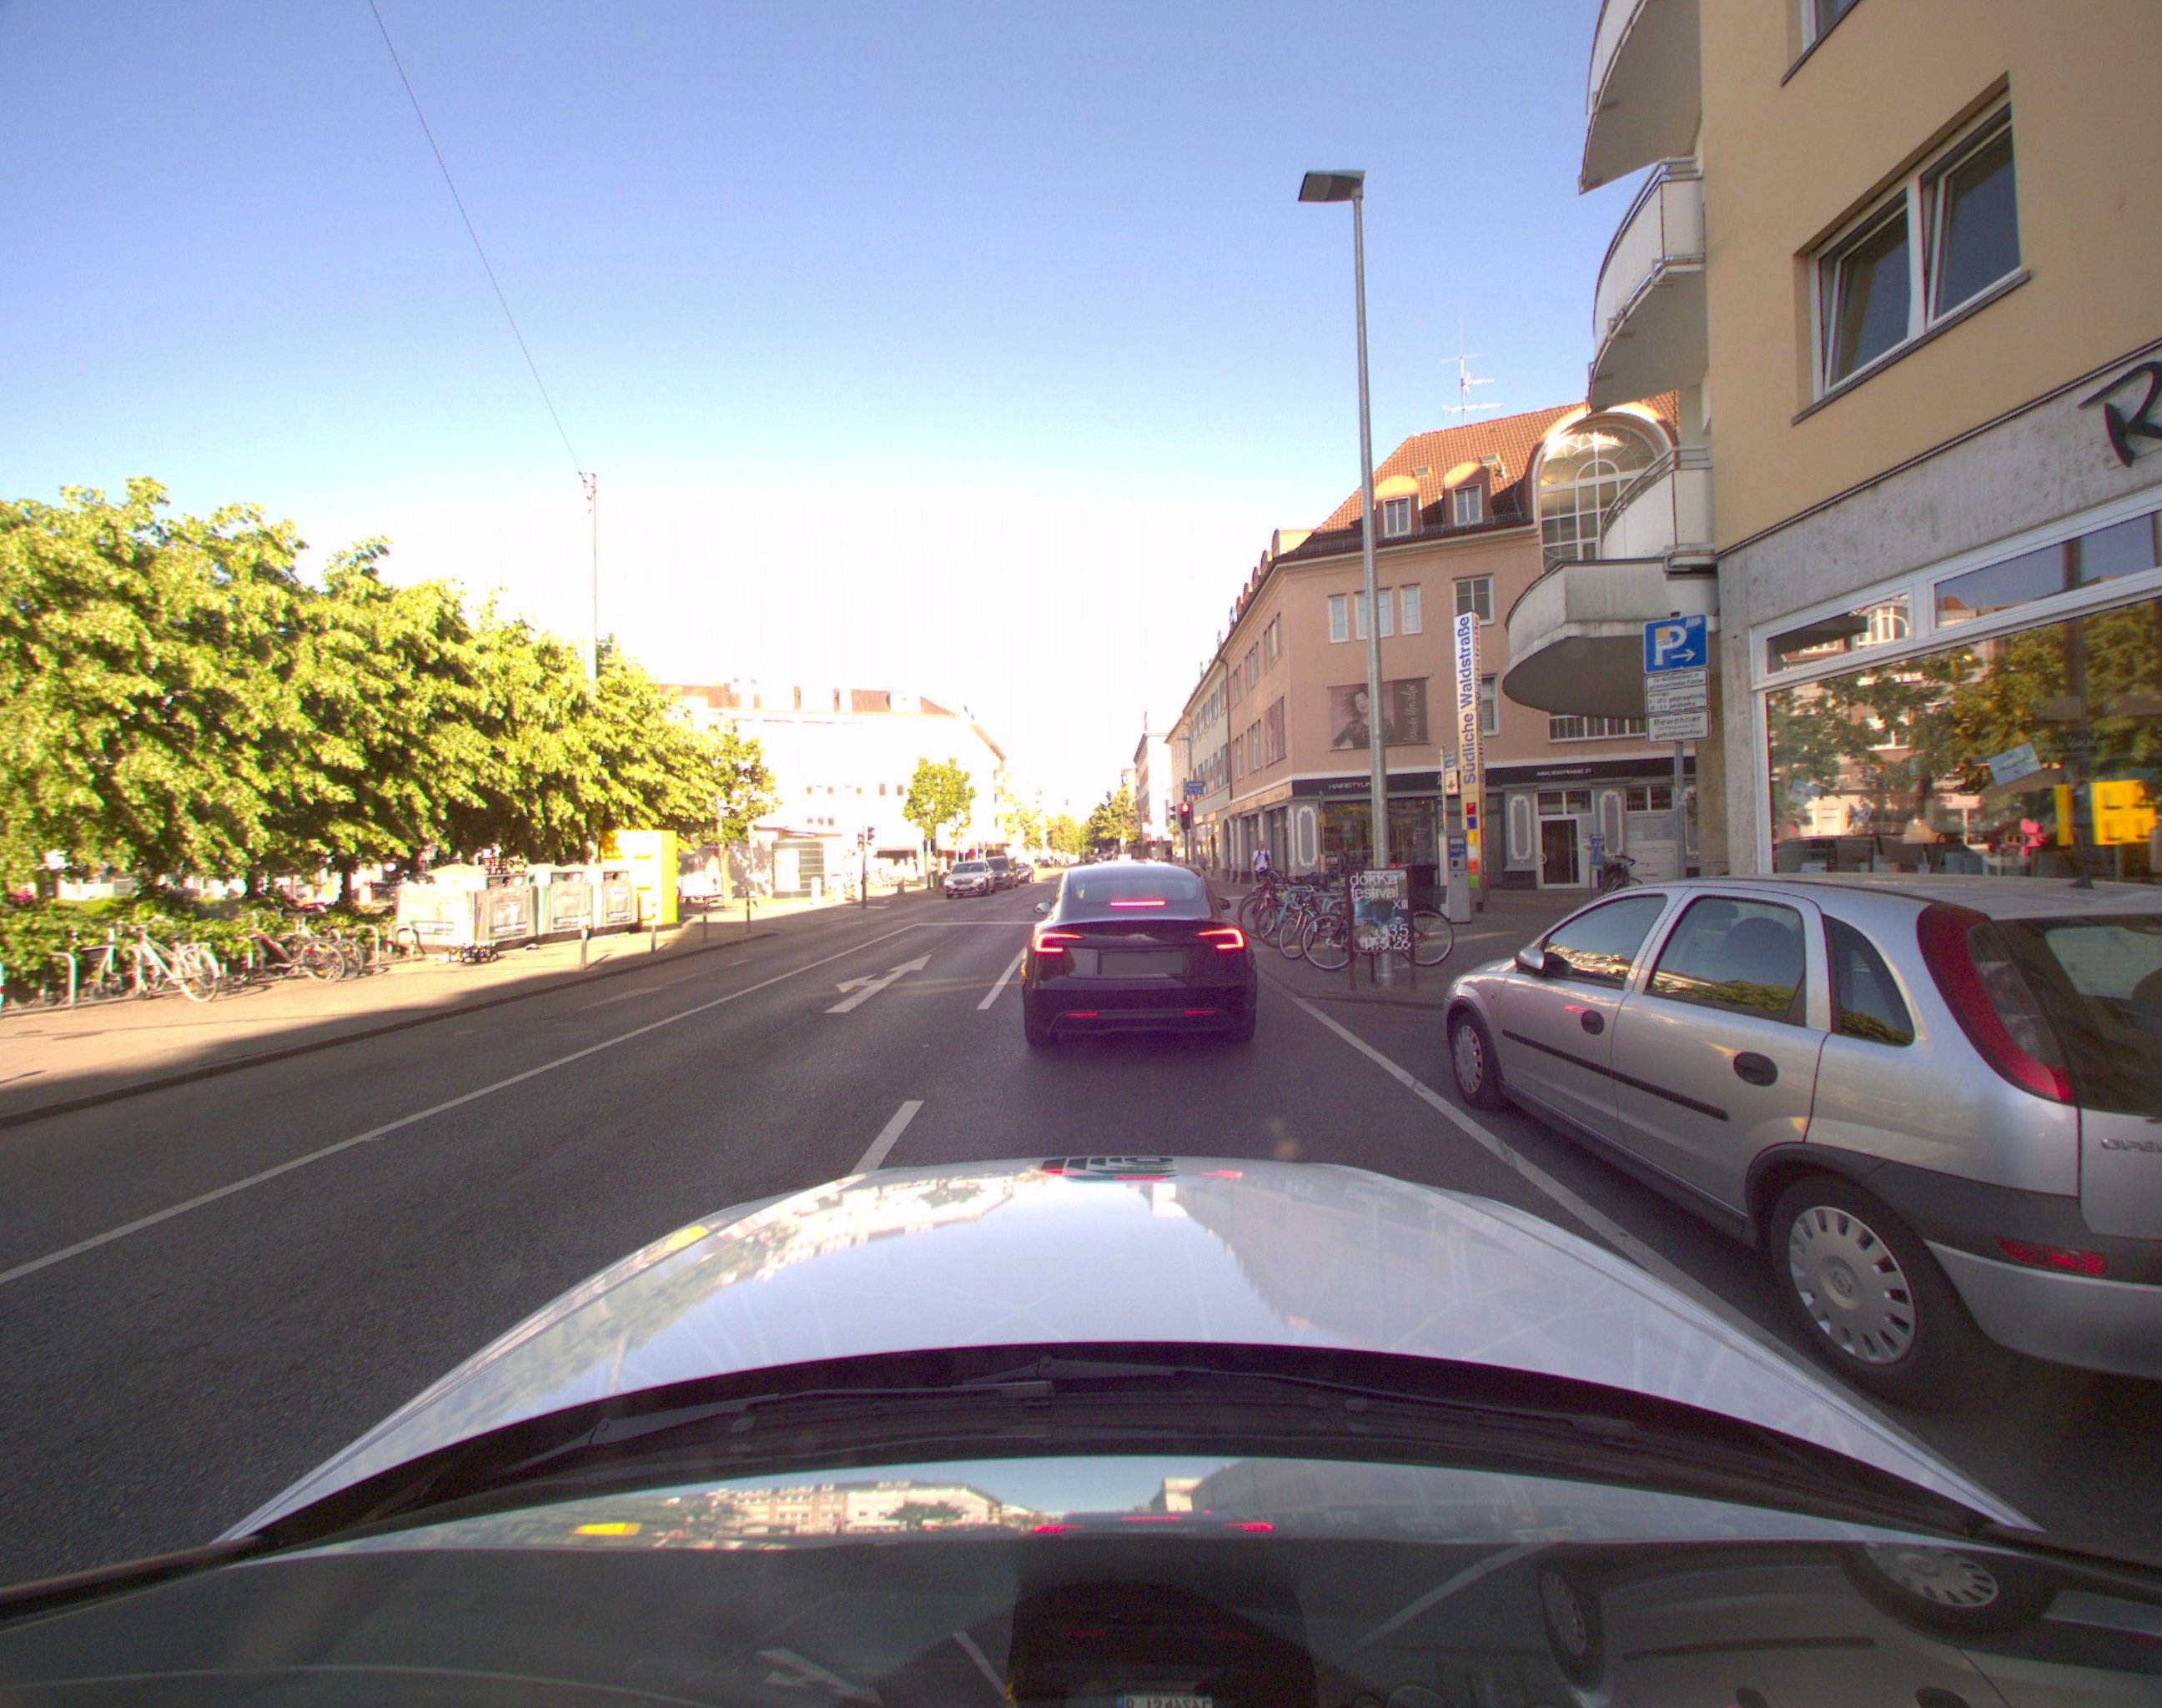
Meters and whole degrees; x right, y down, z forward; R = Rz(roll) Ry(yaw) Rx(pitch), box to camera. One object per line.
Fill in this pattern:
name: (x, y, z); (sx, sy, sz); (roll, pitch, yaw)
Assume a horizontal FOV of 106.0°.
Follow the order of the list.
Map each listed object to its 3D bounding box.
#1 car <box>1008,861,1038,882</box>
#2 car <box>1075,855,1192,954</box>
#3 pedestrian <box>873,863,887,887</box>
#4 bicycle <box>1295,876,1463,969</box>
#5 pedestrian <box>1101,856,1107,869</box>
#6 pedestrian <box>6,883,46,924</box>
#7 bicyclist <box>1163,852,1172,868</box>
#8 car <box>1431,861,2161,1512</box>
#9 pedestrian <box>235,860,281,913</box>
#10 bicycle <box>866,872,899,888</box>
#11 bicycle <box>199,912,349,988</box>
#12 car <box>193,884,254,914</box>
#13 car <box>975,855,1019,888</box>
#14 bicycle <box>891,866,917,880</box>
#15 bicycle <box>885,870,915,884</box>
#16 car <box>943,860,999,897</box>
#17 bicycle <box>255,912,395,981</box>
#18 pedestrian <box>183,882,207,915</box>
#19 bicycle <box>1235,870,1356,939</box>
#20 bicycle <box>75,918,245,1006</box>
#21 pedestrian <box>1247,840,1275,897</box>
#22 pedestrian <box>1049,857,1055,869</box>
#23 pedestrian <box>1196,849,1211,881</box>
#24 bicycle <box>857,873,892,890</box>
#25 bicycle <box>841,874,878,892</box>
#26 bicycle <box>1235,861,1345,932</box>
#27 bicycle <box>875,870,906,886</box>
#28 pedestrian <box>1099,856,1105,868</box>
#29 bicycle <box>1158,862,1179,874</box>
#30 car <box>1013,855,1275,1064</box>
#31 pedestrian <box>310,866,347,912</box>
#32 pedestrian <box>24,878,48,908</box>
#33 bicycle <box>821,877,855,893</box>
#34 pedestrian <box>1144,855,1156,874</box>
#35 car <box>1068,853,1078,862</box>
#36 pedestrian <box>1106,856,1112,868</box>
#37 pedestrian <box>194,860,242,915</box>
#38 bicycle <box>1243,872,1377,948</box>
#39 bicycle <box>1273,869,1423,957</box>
car: (-3.977, 1.184, 56.309); (1.709, 1.446, 3.846); (0, -1, 2)
car: (0.791, 0.749, 13.962); (1.712, 1.425, 3.757); (-1, 0, 0)
pedestrian: (-17.004, 1.786, 68.862); (1.060, 2.014, 1.049); (0, -1, -18)
bicycle: (3.629, 0.837, 10.010); (1.862, 1.038, 0.354); (-3, -1, 8)
pedestrian: (2.669, 0.991, 93.836); (0.524, 1.422, 0.475); (0, -1, -28)
pedestrian: (-54.522, 2.553, 42.104); (1.145, 2.013, 1.040); (-1, 0, 26)
bicyclist: (7.606, 0.488, 71.320); (0.670, 1.395, 0.460); (0, -1, -14)
car: (2.964, 0.740, 3.505); (1.540, 1.390, 3.479); (-1, -1, 3)
pedestrian: (-32.227, 1.262, 31.898); (0.890, 2.013, 0.893); (-1, 0, 15)
bicycle: (-12.263, 1.594, 50.348); (1.857, 0.934, 0.606); (0, -1, 0)
bicycle: (-11.521, 1.350, 11.638); (1.913, 1.003, 0.518); (-1, -1, 11)
car: (-44.808, 2.327, 42.548); (3.526, 1.386, 1.703); (-1, 0, 36)
car: (-4.493, 0.922, 44.115); (1.780, 1.646, 4.404); (-1, 0, 2)
bicycle: (-17.079, 1.820, 78.501); (2.373, 1.296, 0.509); (0, -1, -25)
bicycle: (-12.196, 1.558, 55.000); (1.857, 0.934, 0.606); (-1, 0, 0)
car: (-4.853, 1.046, 36.416); (1.782, 1.460, 3.759); (-4, -1, 2)
bicycle: (-11.325, 1.373, 12.209); (1.888, 0.955, 0.518); (-1, -1, 11)
pedestrian: (-48.824, 2.439, 44.867); (0.842, 1.717, 0.761); (-2, -1, 35)
bicycle: (3.577, 0.841, 13.680); (1.863, 1.038, 0.548); (-3, -1, 7)
bicycle: (-11.627, 1.341, 10.285); (1.919, 1.015, 0.518); (-1, -1, 11)
pedestrian: (5.721, 0.452, 25.897); (0.747, 1.765, 0.838); (0, -1, 6)
pedestrian: (-4.061, 1.213, 113.393); (0.845, 1.695, 0.718); (-1, 0, -1)
pedestrian: (6.727, 0.601, 44.723); (0.704, 1.742, 0.540); (-1, 0, 1)
bicycle: (-12.139, 1.617, 47.869); (1.857, 0.934, 0.606); (0, -1, 0)
bicycle: (-12.408, 1.623, 45.658); (1.857, 0.934, 0.606); (-1, -1, 0)
bicycle: (3.773, 0.760, 14.797); (1.818, 1.169, 0.507); (-3, -1, 7)
bicycle: (-12.276, 1.539, 52.552); (1.857, 0.934, 0.606); (-1, 0, 0)
pedestrian: (2.435, 0.941, 94.770); (0.474, 1.417, 0.517); (0, -1, -29)
bicycle: (7.676, 1.204, 71.319); (1.787, 1.007, 0.469); (0, -1, -15)
car: (0.505, 0.762, 7.748); (1.816, 1.442, 4.001); (-1, -1, 2)
pedestrian: (-28.831, 1.336, 31.216); (0.754, 1.698, 0.793); (-1, 0, 25)
pedestrian: (-77.786, 2.901, 60.620); (0.891, 2.171, 0.882); (-1, -1, 26)
bicycle: (-12.845, 1.634, 43.087); (1.640, 0.792, 0.606); (0, -1, -3)
pedestrian: (5.877, 0.912, 69.294); (0.756, 1.631, 0.951); (0, -1, -16)
car: (-1.880, 0.873, 187.425); (1.986, 2.013, 4.001); (-1, 0, 2)
pedestrian: (3.274, 0.913, 94.396); (0.524, 1.422, 0.475); (0, -1, -28)
pedestrian: (-32.453, 1.239, 30.637); (0.890, 2.013, 0.893); (-1, 0, 15)
bicycle: (3.487, 0.851, 12.490); (1.864, 1.038, 0.534); (-3, -1, 5)
bicycle: (3.647, 0.806, 11.203); (1.864, 1.087, 0.415); (-3, -1, 5)
